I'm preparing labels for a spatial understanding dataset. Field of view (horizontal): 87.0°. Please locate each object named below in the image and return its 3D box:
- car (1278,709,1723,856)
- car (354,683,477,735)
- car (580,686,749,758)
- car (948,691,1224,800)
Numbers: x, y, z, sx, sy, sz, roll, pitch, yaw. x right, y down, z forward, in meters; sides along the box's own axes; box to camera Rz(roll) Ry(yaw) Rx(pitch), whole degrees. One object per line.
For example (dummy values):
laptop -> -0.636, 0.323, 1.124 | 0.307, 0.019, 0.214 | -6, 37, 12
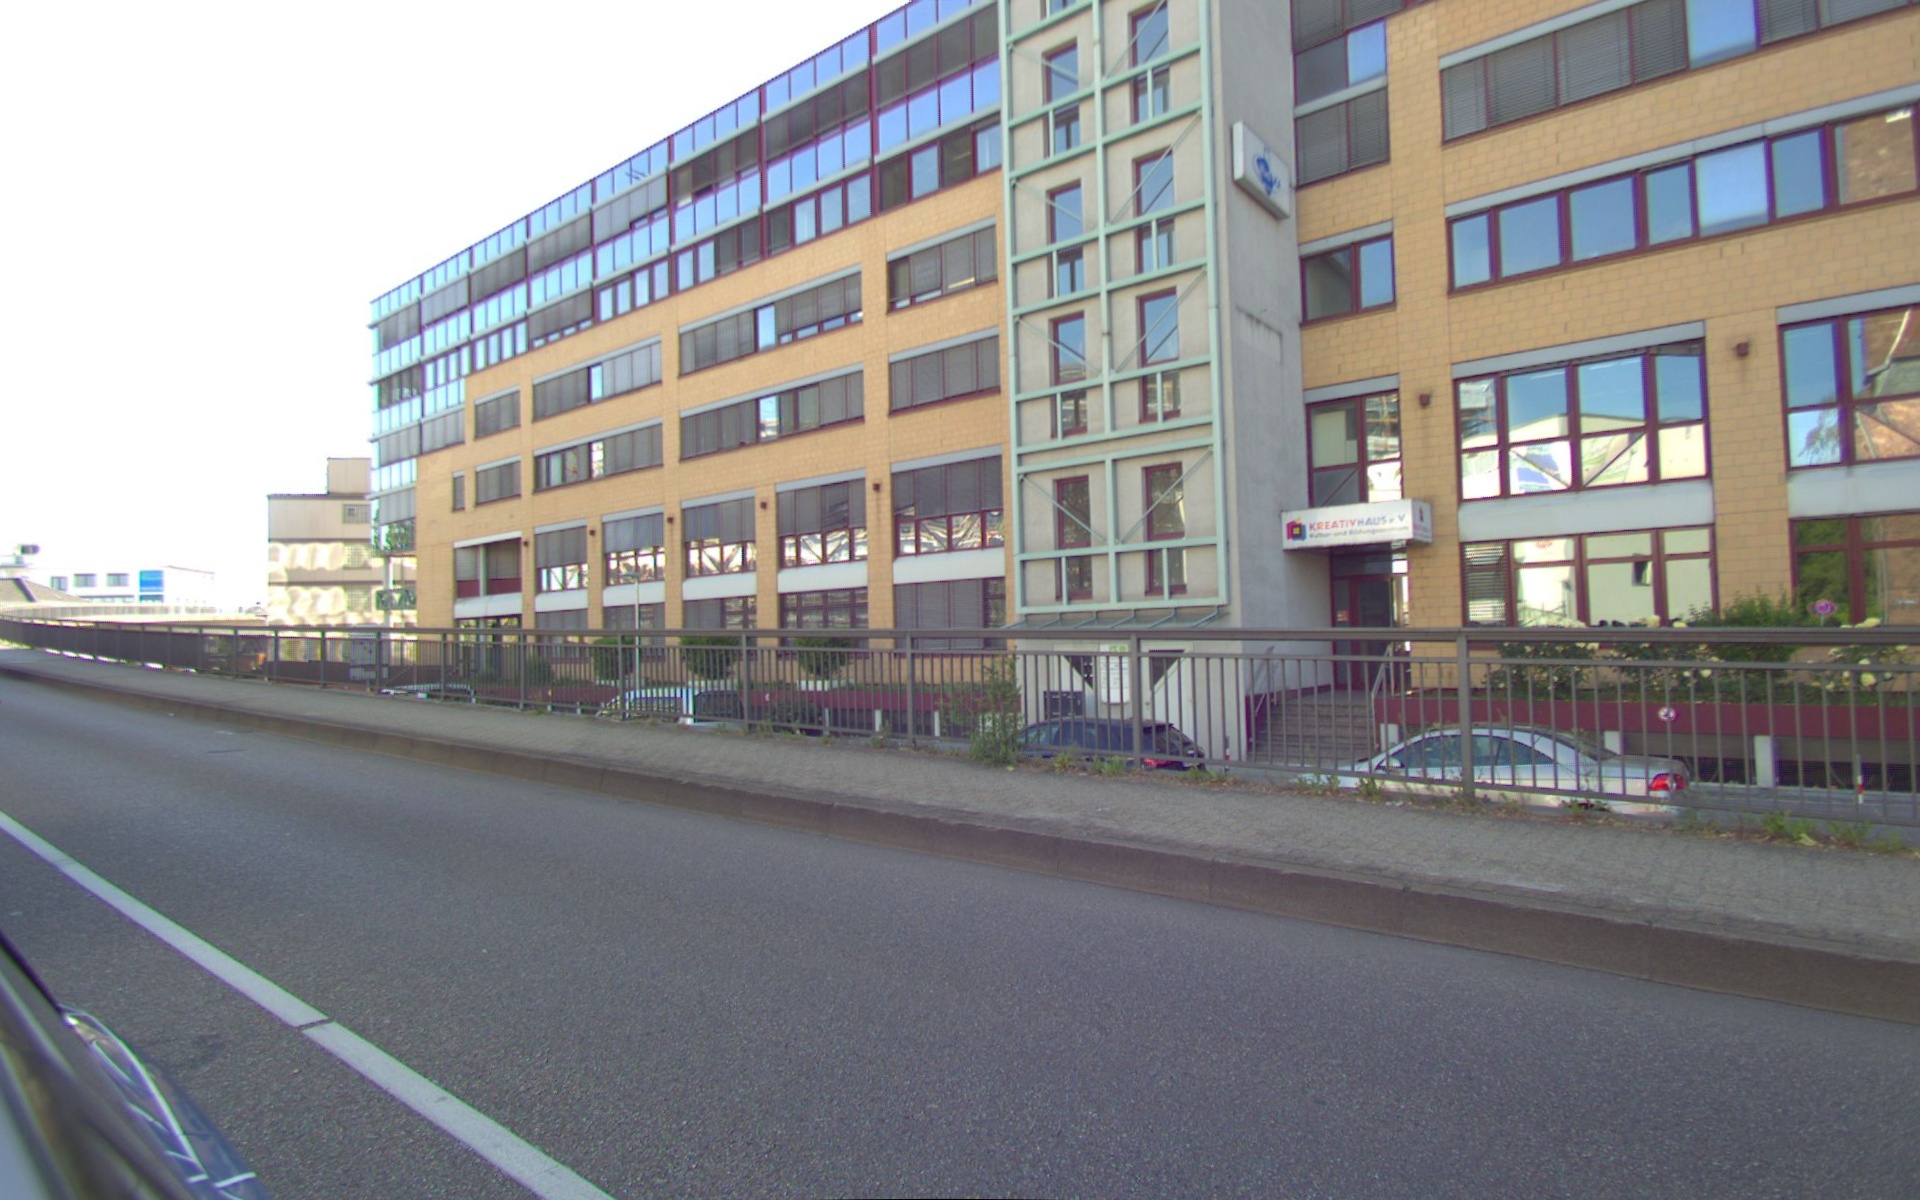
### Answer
car -> 6.053, 1.947, 11.631 | 4.253, 1.175, 1.704 | -3, -4, 39
car -> -15.528, 3.045, 28.791 | 3.804, 1.279, 1.744 | -3, -4, 39
car -> -6.312, 2.521, 21.438 | 3.804, 1.279, 1.560 | -3, -4, 39
car -> 1.776, 2.043, 14.929 | 3.804, 1.279, 1.560 | -3, -4, 39
